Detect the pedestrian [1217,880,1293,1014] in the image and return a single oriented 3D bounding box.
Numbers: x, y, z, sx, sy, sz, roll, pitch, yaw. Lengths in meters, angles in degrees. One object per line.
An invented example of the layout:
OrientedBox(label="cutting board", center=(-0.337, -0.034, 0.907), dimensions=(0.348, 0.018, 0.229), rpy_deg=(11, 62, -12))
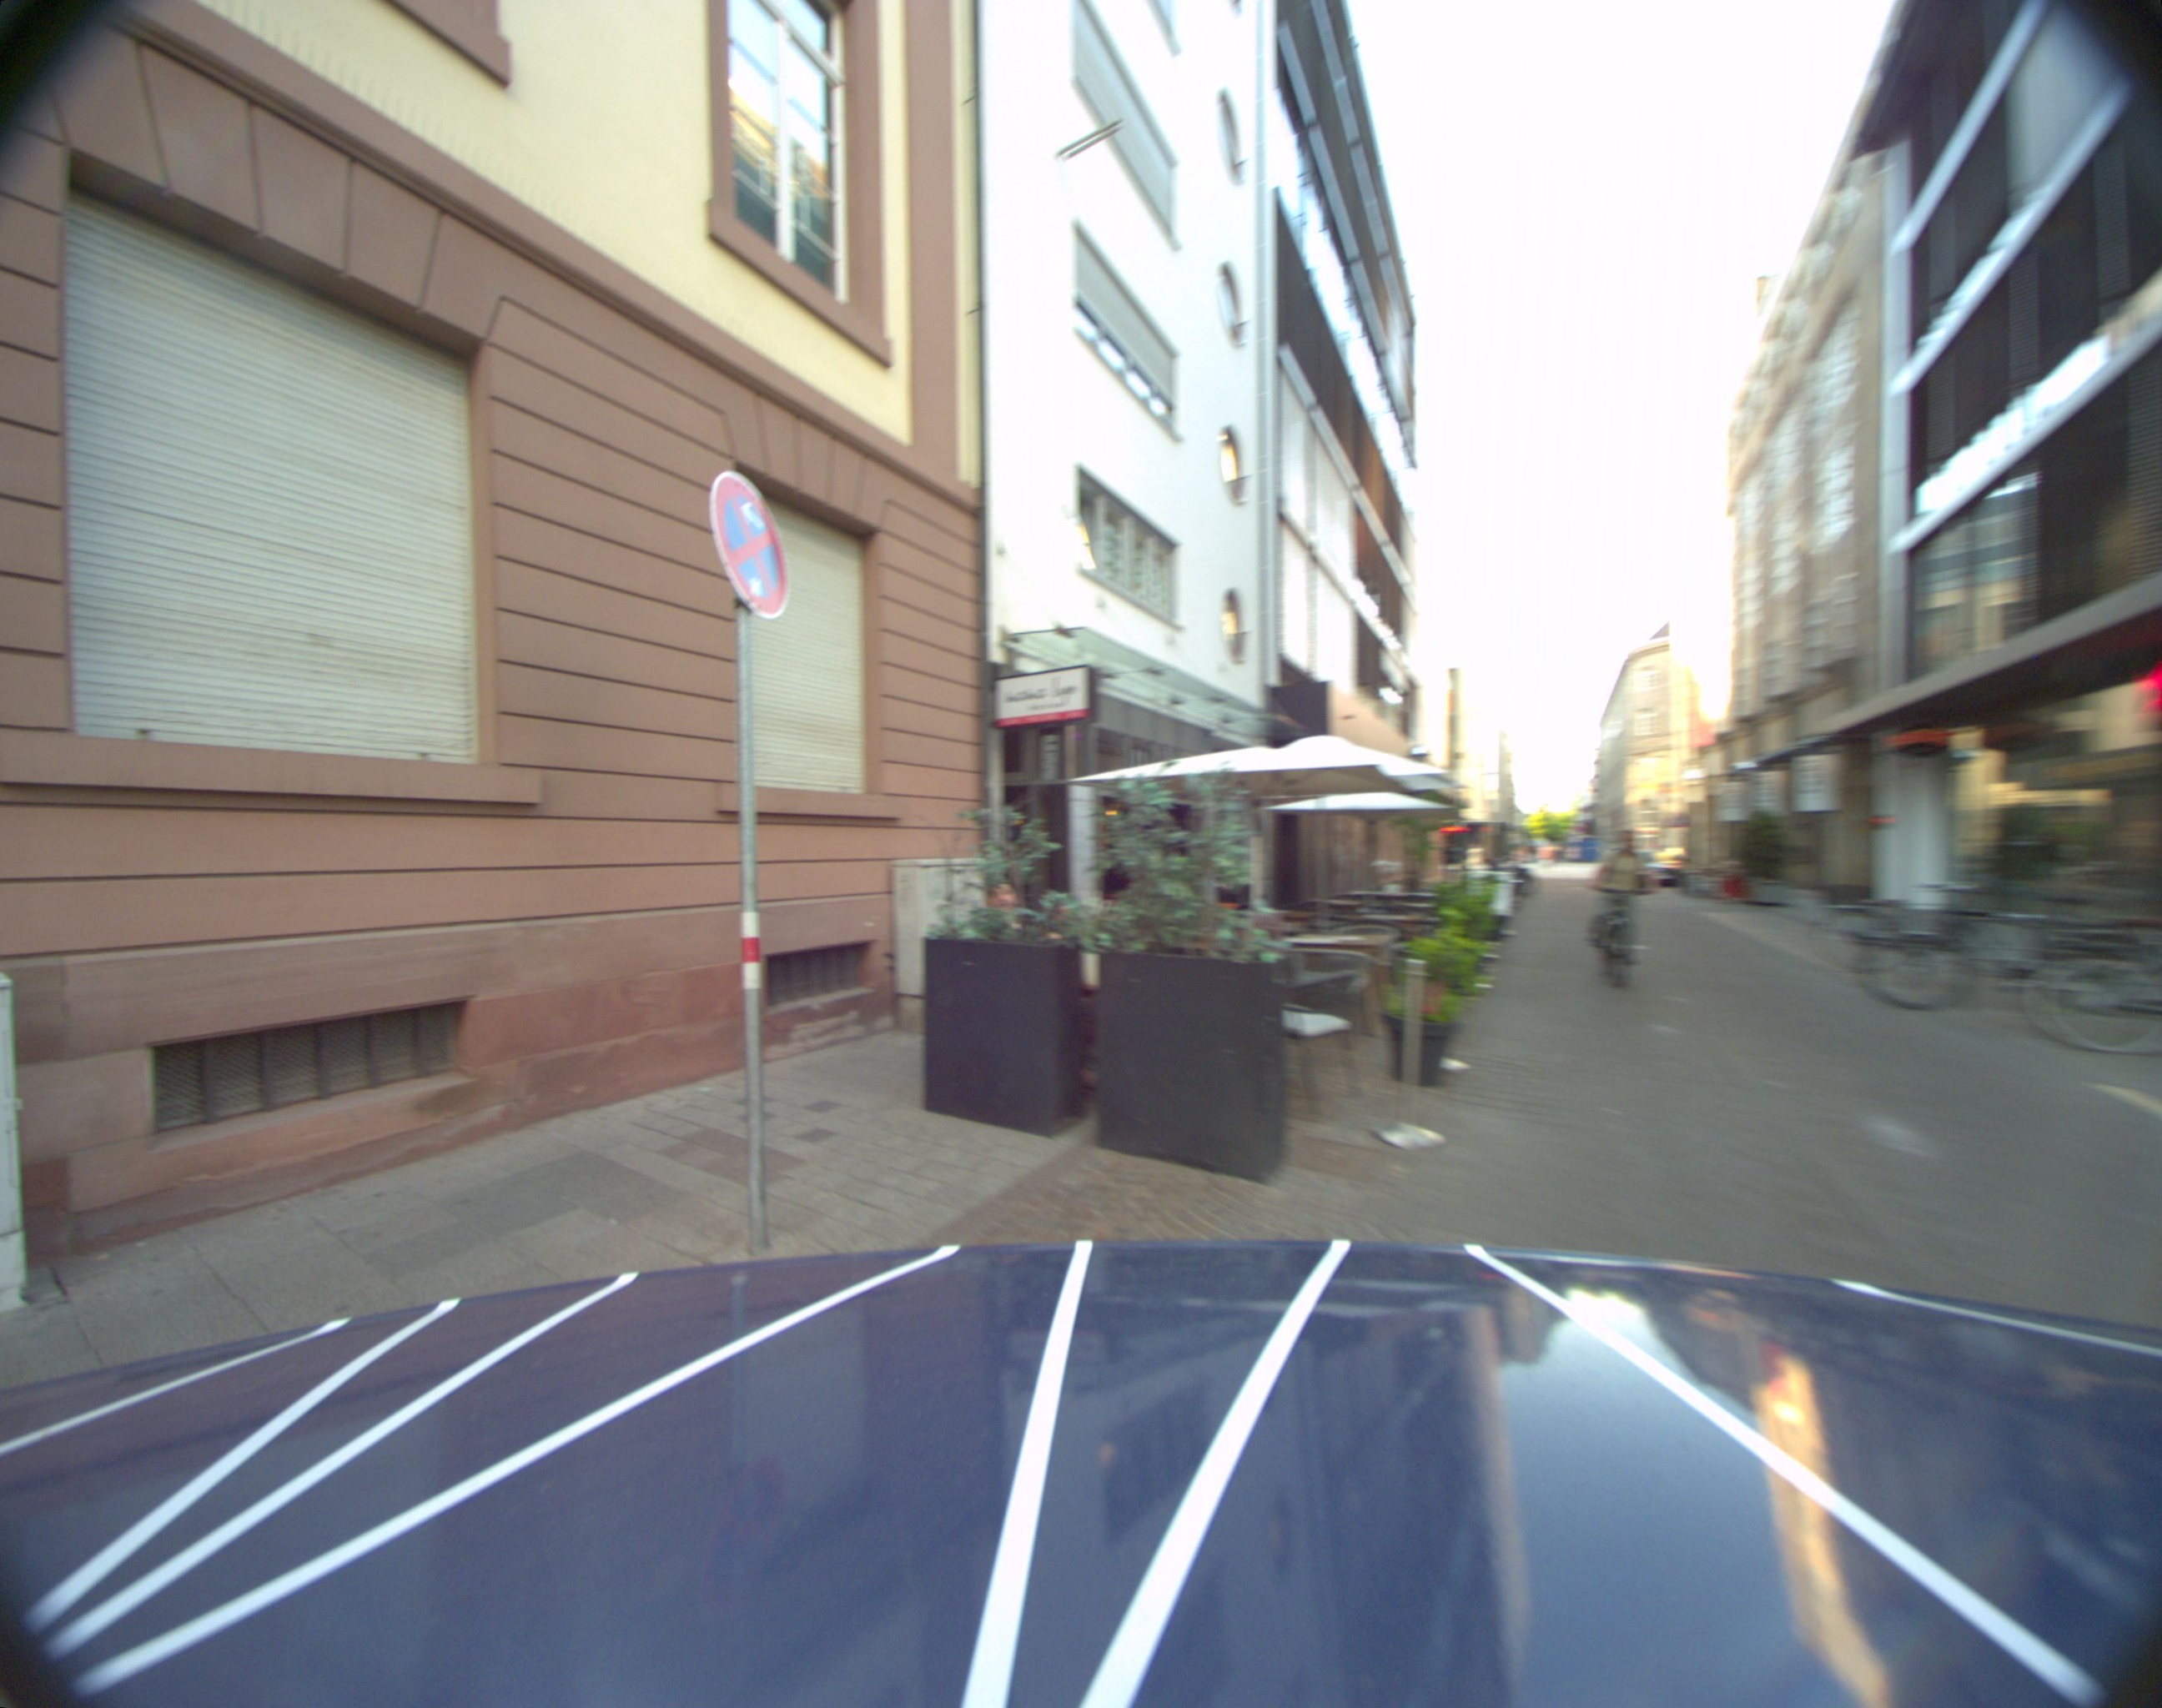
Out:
OrientedBox(label="pedestrian", center=(2.014, 1.023, 8.742), dimensions=(0.574, 1.412, 0.870), rpy_deg=(0, 1, 33))

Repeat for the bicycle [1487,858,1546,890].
OrientedBox(label="bicycle", center=(17.407, 0.784, 30.377), dimensions=(2.034, 1.209, 0.620), rpy_deg=(0, 1, 31))

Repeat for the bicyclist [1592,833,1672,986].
OrientedBox(label="bicyclist", center=(6.321, 0.597, 8.756), dimensions=(0.674, 1.660, 0.871), rpy_deg=(0, 1, 31))

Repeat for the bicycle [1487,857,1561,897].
OrientedBox(label="bicycle", center=(14.594, 0.736, 25.050), dimensions=(2.034, 1.161, 0.667), rpy_deg=(3, 3, 31))

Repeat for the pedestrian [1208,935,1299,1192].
OrientedBox(label="pedestrian", center=(0.909, 1.053, 3.967), dimensions=(0.399, 1.206, 0.384), rpy_deg=(0, 1, 22))

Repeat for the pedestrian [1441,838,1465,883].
OrientedBox(label="pedestrian", center=(15.413, 0.268, 31.493), dimensions=(0.802, 1.826, 0.676), rpy_deg=(0, 1, 34))

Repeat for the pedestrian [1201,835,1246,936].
OrientedBox(label="pedestrian", center=(2.555, 0.543, 13.589), dimensions=(0.639, 1.762, 0.603), rpy_deg=(0, 1, 27))

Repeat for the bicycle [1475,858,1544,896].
OrientedBox(label="bicycle", center=(15.012, 0.787, 26.636), dimensions=(2.034, 1.161, 0.620), rpy_deg=(3, 3, 31))

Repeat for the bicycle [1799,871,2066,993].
OrientedBox(label="bicycle", center=(9.616, 0.882, 8.694), dimensions=(1.899, 1.262, 0.539), rpy_deg=(-4, -1, 32))

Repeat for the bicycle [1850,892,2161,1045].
OrientedBox(label="bicycle", center=(8.022, 0.945, 6.512), dimensions=(1.899, 1.174, 0.518), rpy_deg=(-3, -2, 31))

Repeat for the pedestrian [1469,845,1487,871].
OrientedBox(label="pedestrian", center=(25.218, 0.258, 48.277), dimensions=(0.636, 1.612, 0.781), rpy_deg=(-1, 2, -17))

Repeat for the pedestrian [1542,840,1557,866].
OrientedBox(label="pedestrian", center=(29.700, -0.087, 48.134), dimensions=(0.763, 1.629, 0.670), rpy_deg=(1, 2, 33))

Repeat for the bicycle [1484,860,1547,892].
OrientedBox(label="bicycle", center=(16.301, 0.811, 28.510), dimensions=(2.034, 1.161, 0.620), rpy_deg=(0, 1, 31))

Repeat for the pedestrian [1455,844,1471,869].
OrientedBox(label="pedestrian", center=(24.214, 0.159, 48.166), dimensions=(0.782, 1.516, 0.636), rpy_deg=(0, 2, 10))

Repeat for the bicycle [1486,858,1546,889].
OrientedBox(label="bicycle", center=(17.031, 0.763, 29.770), dimensions=(2.034, 1.161, 0.620), rpy_deg=(0, 1, 31))

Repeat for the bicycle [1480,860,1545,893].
OrientedBox(label="bicycle", center=(15.658, 0.804, 27.609), dimensions=(2.034, 1.161, 0.620), rpy_deg=(0, 1, 31))

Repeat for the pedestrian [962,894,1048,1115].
OrientedBox(label="pedestrian", center=(-0.476, 0.921, 4.859), dimensions=(0.362, 1.298, 0.496), rpy_deg=(0, 1, 18))

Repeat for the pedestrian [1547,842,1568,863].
OrientedBox(label="pedestrian", center=(35.878, -0.149, 57.253), dimensions=(0.993, 1.563, 0.918), rpy_deg=(-1, 1, -14))

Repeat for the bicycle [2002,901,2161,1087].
OrientedBox(label="bicycle", center=(7.538, 0.927, 5.074), dimensions=(1.666, 1.197, 0.510), rpy_deg=(-2, 0, 31))

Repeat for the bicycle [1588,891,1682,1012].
OrientedBox(label="bicycle", center=(6.333, 1.045, 8.774), dimensions=(0.698, 1.121, 2.008), rpy_deg=(0, 1, 31))

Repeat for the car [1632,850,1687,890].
OrientedBox(label="car", center=(22.409, 0.588, 29.529), dimensions=(1.599, 1.415, 3.611), rpy_deg=(0, 1, 36))
